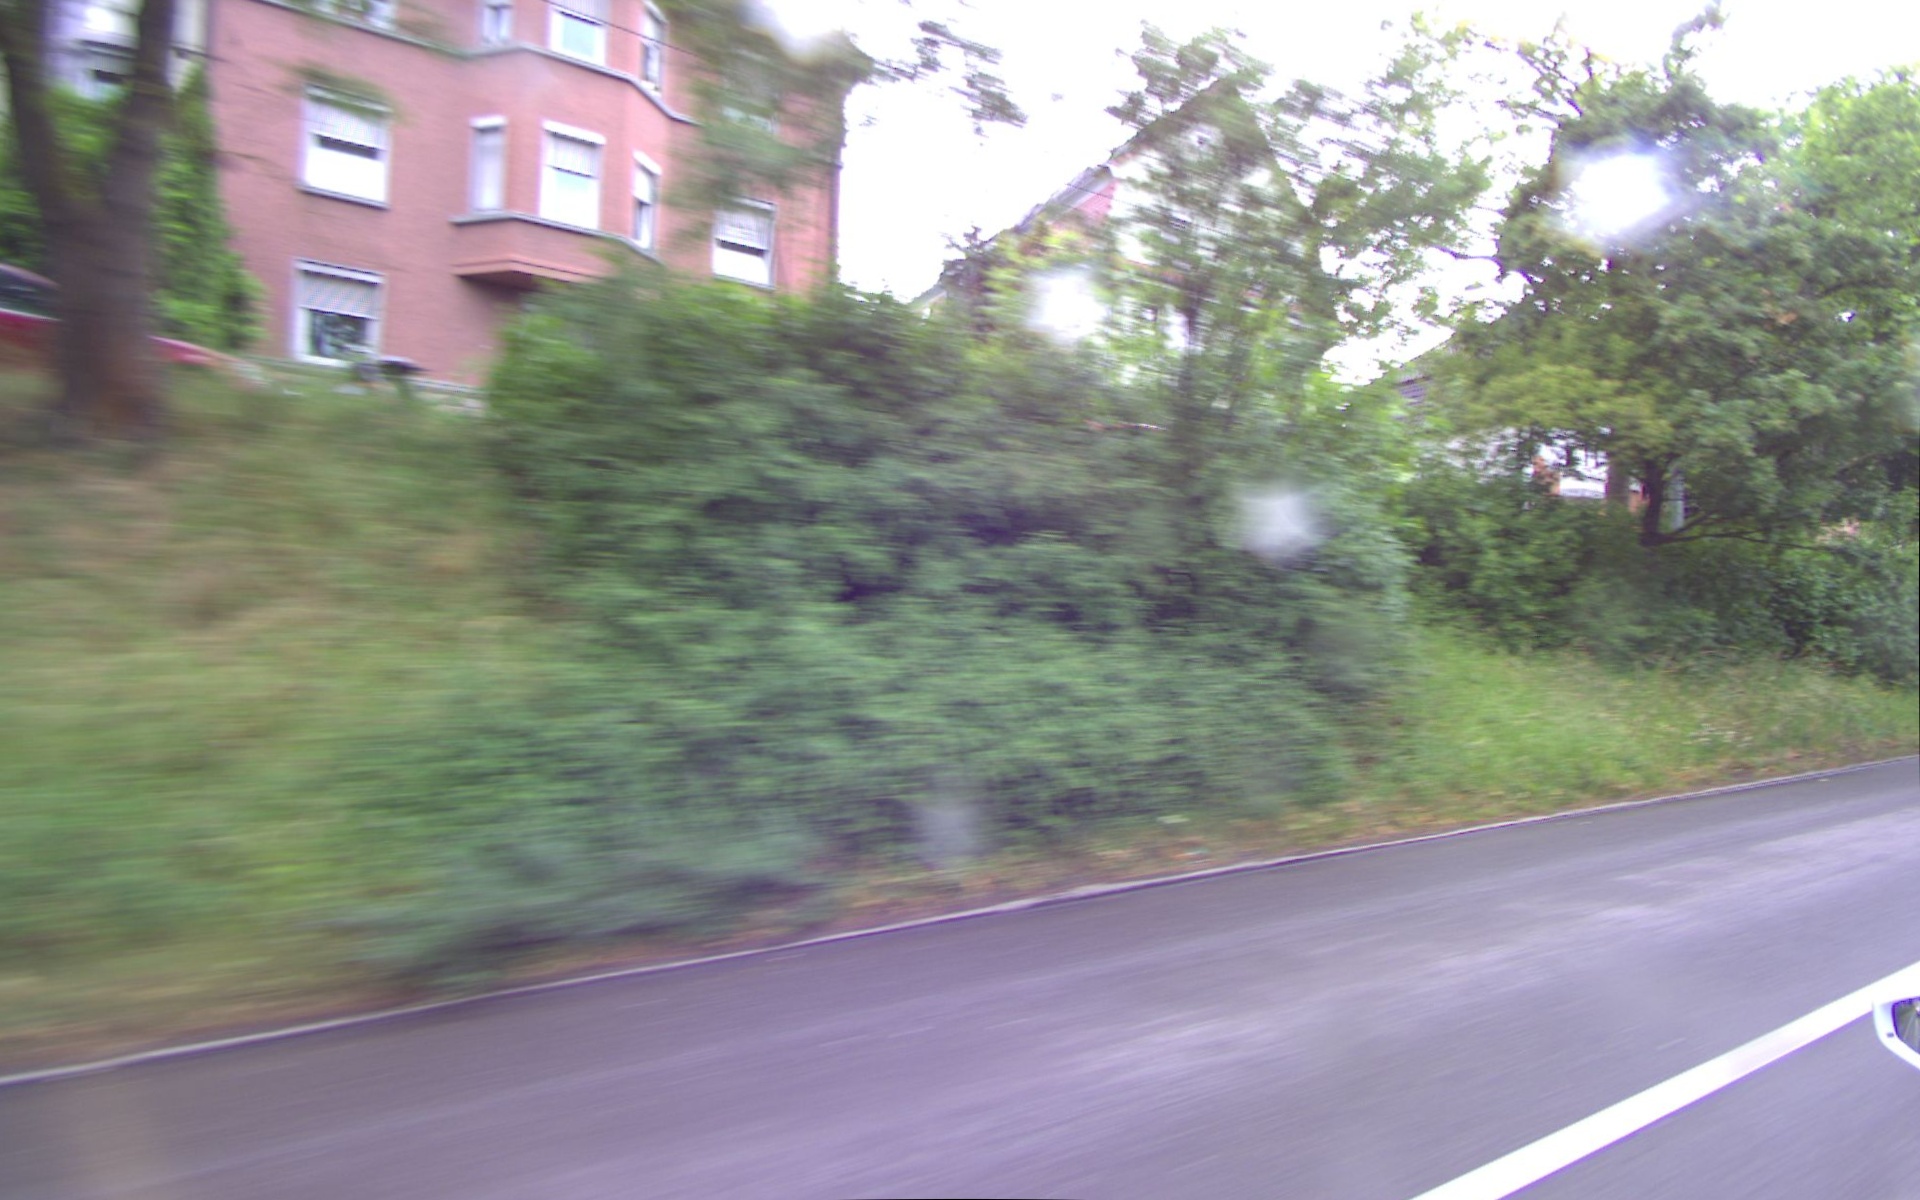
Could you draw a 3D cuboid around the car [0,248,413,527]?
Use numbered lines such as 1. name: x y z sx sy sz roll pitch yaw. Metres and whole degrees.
1. car: -7.873 -1.932 9.825 4.303 2.040 1.983 2 -1 -32
